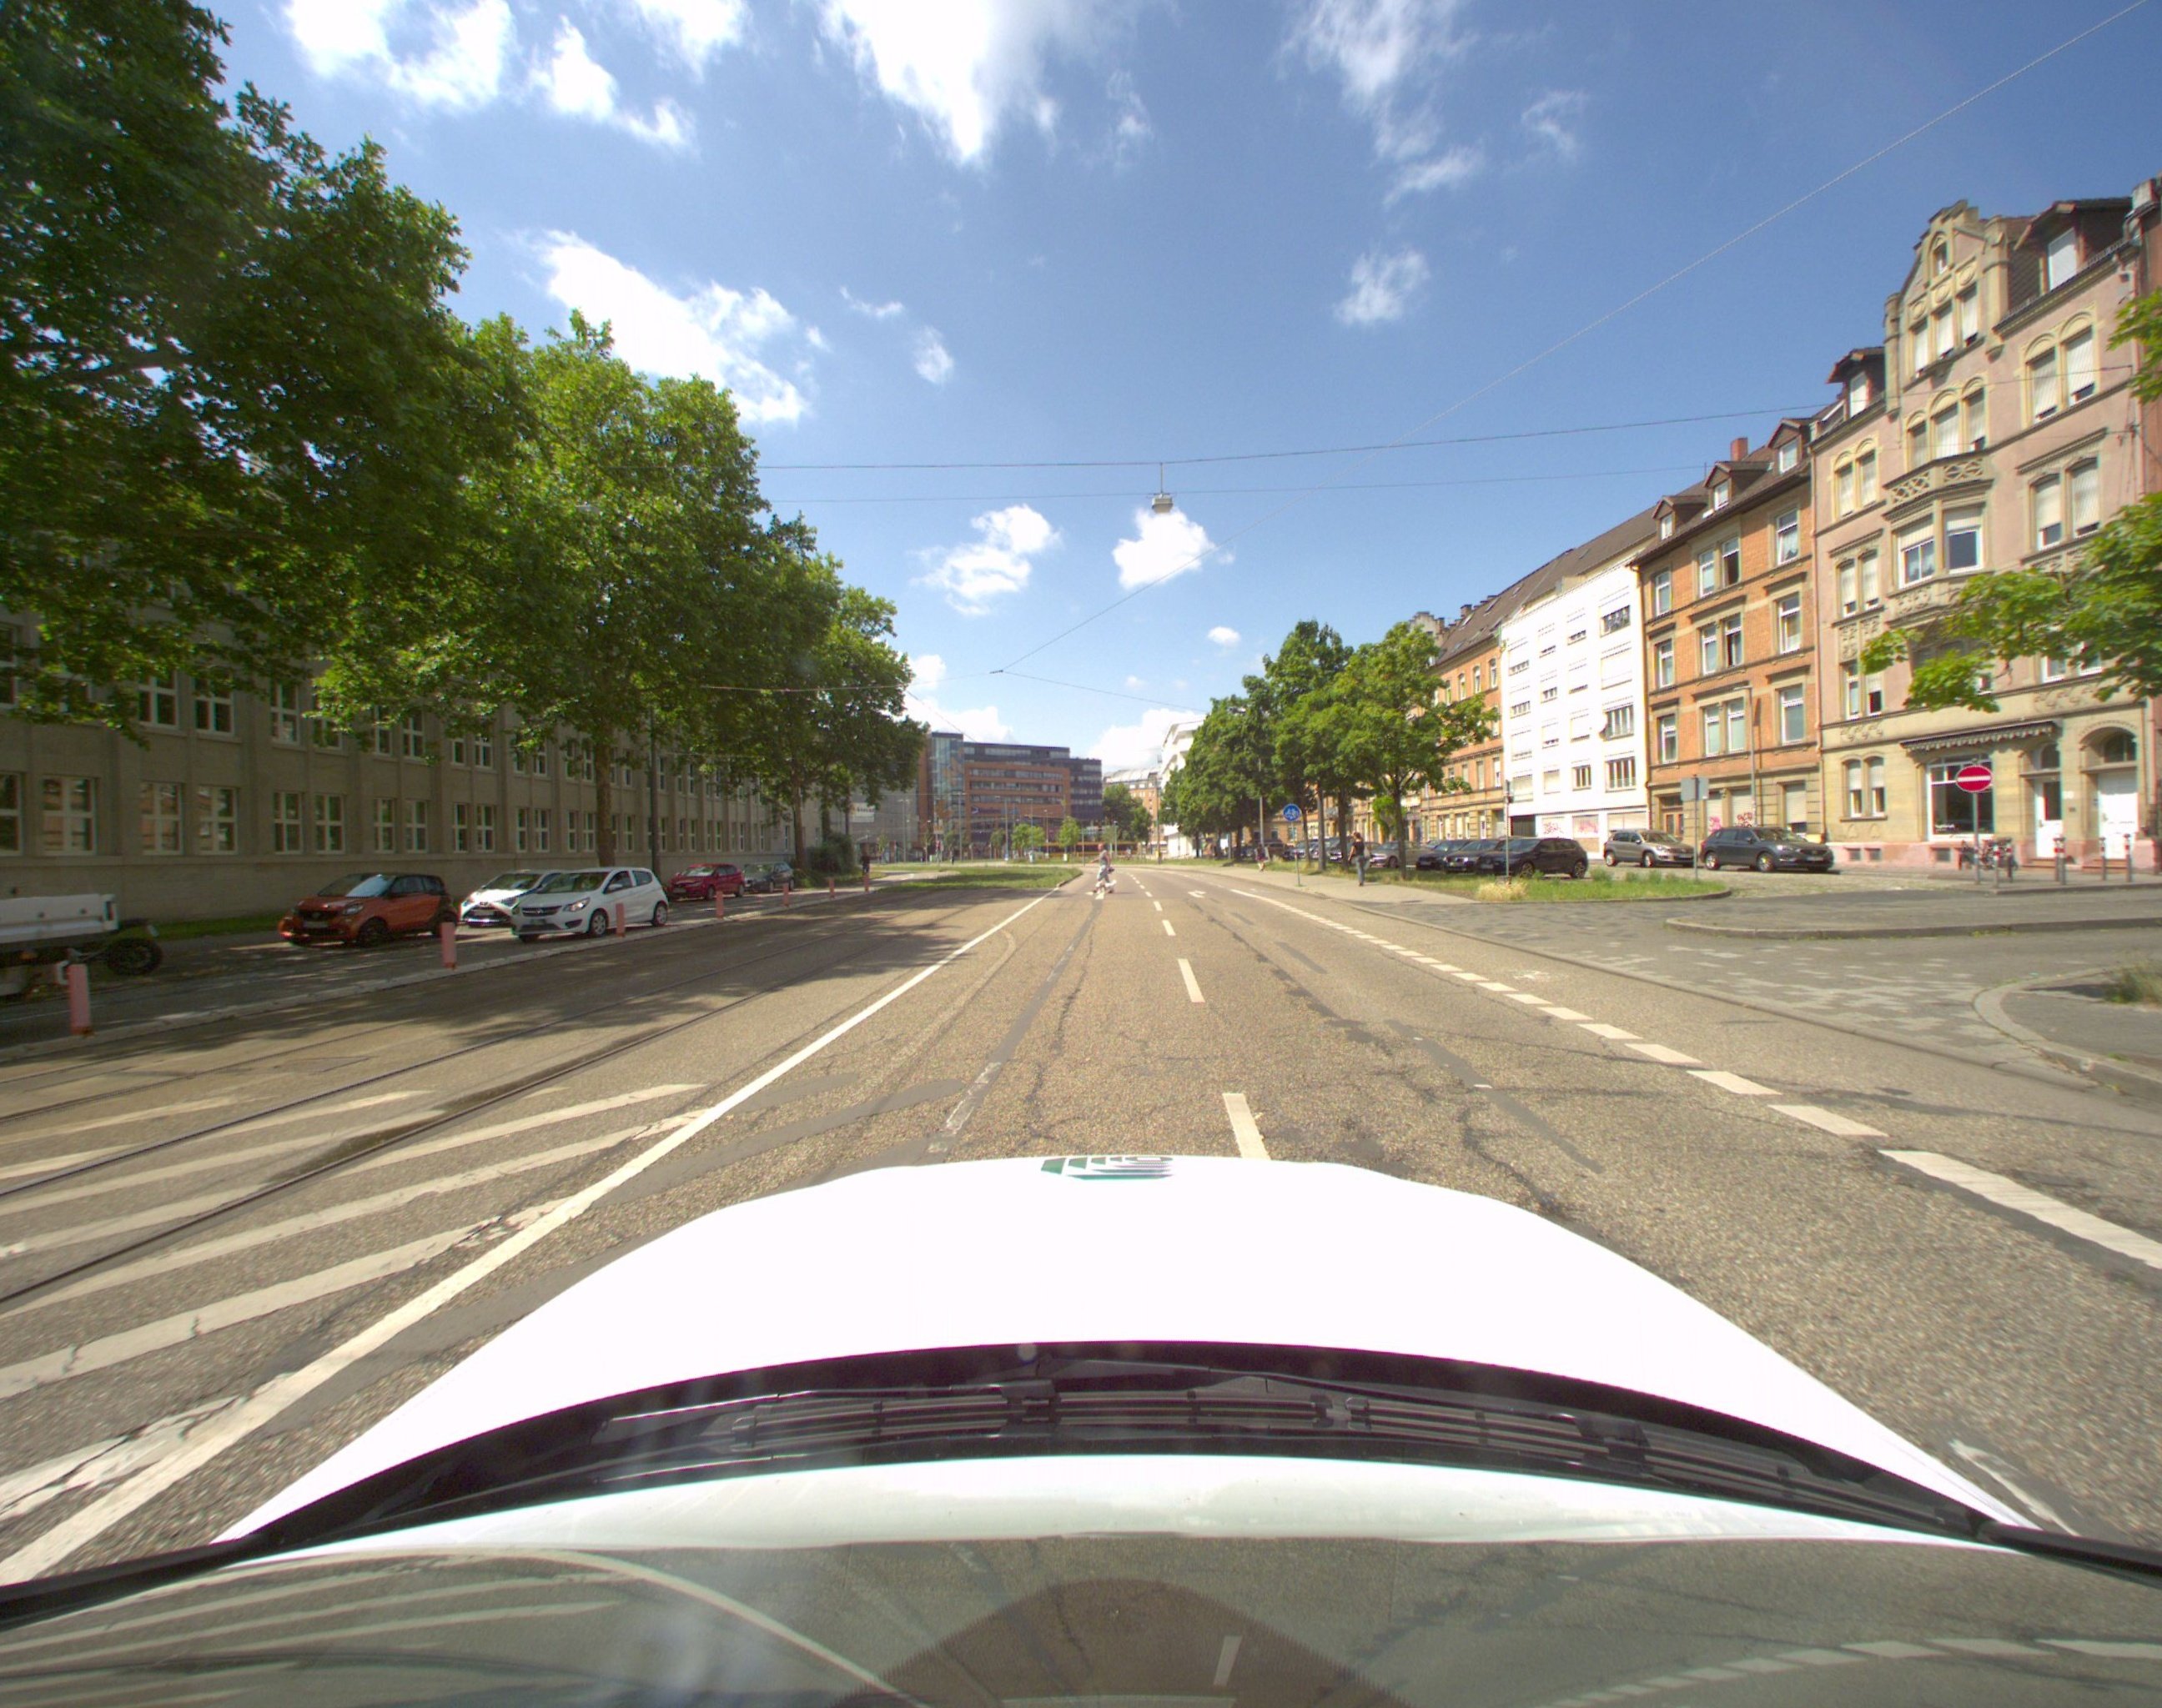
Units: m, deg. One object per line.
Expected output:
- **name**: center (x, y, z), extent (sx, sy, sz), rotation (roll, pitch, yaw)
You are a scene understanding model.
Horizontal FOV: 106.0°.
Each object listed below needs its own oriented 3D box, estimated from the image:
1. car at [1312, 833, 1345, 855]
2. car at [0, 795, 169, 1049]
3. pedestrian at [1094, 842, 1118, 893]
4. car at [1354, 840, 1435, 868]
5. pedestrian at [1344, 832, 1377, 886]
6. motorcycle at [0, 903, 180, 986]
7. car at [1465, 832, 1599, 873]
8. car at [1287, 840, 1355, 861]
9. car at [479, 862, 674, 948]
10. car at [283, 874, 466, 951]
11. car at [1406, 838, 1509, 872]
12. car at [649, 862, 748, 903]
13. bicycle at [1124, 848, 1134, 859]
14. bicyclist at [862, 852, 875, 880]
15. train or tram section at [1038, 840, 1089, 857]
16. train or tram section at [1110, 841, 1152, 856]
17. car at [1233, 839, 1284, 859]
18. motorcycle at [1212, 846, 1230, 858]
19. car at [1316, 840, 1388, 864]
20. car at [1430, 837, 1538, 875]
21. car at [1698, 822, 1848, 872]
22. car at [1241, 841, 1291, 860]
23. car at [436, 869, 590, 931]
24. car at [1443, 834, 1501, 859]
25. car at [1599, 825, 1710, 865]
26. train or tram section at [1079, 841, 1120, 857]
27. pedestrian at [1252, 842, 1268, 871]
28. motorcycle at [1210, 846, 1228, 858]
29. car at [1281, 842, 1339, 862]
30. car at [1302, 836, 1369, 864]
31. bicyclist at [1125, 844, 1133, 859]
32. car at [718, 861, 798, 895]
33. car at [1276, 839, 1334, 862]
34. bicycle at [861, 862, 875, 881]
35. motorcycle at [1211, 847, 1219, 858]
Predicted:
- **car**: center (25.692, -1.038, 84.719), extent (2.102, 2.178, 5.397), rotation (0, 0, 2)
- **car**: center (-11.323, 0.717, 5.482), extent (2.247, 2.374, 6.983), rotation (-4, 0, 1)
- **pedestrian**: center (0.869, 0.457, 27.839), extent (0.777, 1.704, 0.703), rotation (0, 0, 4)
- **car**: center (16.239, 0.001, 42.119), extent (4.286, 1.380, 1.833), rotation (0, 0, -34)
- **pedestrian**: center (9.108, 0.157, 26.562), extent (0.698, 1.704, 1.045), rotation (0, 0, 1)
- **motorcycle**: center (-15.908, 1.403, 12.890), extent (2.116, 1.175, 0.539), rotation (2, 2, -36)
- **car**: center (15.596, -0.061, 28.209), extent (4.001, 1.354, 1.948), rotation (0, 0, -21)
- **car**: center (16.591, -0.221, 56.198), extent (4.710, 1.380, 1.833), rotation (0, 0, -32)
- **car**: center (-10.817, 1.024, 17.827), extent (1.754, 1.480, 3.789), rotation (-4, 1, 1)
- **car**: center (-15.432, 1.219, 17.971), extent (1.482, 1.453, 2.883), rotation (0, 1, 0)
- **car**: center (16.114, 0.043, 34.866), extent (4.008, 1.380, 1.945), rotation (0, 0, -26)
- **car**: center (-15.161, 1.097, 32.562), extent (1.918, 1.420, 4.053), rotation (0, 1, 2)
- **bicycle**: center (6.115, -0.034, 102.989), extent (0.688, 1.242, 1.849), rotation (-4, 1, 21)
- **bicyclist**: center (-13.000, 0.732, 49.771), extent (0.763, 1.704, 0.779), rotation (0, 0, -15)
- **train or tram section**: center (-3.760, -1.170, 179.756), extent (3.185, 3.599, 13.584), rotation (-1, 0, 40)
- **train or tram section**: center (12.224, -1.289, 197.961), extent (3.026, 3.621, 12.714), rotation (-1, 0, 41)
- **car**: center (17.041, -0.458, 78.169), extent (4.642, 1.927, 1.899), rotation (0, 0, -29)
- **motorcycle**: center (14.717, -0.205, 85.669), extent (1.777, 1.167, 0.640), rotation (-1, 0, 0)
- **car**: center (16.147, -0.100, 48.407), extent (4.286, 1.380, 1.833), rotation (0, 0, -34)
- **car**: center (15.792, 0.064, 31.895), extent (4.013, 1.380, 1.942), rotation (0, 0, -31)
- **car**: center (24.412, -0.228, 28.977), extent (1.823, 1.615, 4.502), rotation (0, 0, 5)
- **car**: center (17.059, -0.330, 75.176), extent (4.181, 1.656, 1.901), rotation (0, 0, -25)
- **car**: center (-15.407, 1.188, 22.329), extent (1.741, 1.453, 3.491), rotation (0, 1, 0)
- **car**: center (24.725, -0.447, 51.689), extent (1.825, 1.492, 4.229), rotation (0, 0, 2)
- **car**: center (24.798, -0.375, 35.415), extent (1.825, 1.615, 4.498), rotation (0, 0, 2)
- **train or tram section**: center (4.384, -1.221, 189.051), extent (3.026, 3.603, 11.060), rotation (-1, 0, 42)
- **pedestrian**: center (10.028, 0.128, 45.695), extent (0.698, 1.592, 0.905), rotation (0, 0, 1)
- **motorcycle**: center (14.746, -0.212, 86.867), extent (1.777, 1.167, 0.640), rotation (-1, 0, 0)
- **car**: center (16.696, -0.130, 59.414), extent (4.101, 1.405, 1.833), rotation (0, 0, -33)
- **car**: center (16.389, -0.235, 52.412), extent (4.383, 1.741, 1.833), rotation (0, 0, -34)
- **bicyclist**: center (6.096, -0.352, 103.011), extent (0.688, 1.824, 0.961), rotation (-4, 1, 20)
- **car**: center (-14.804, 1.077, 37.618), extent (1.920, 1.369, 4.318), rotation (0, 1, 0)
- **car**: center (17.200, -0.269, 62.549), extent (4.161, 1.741, 1.835), rotation (0, 0, -29)
- **bicycle**: center (-12.986, 1.029, 49.694), extent (0.792, 1.110, 2.265), rotation (0, 0, -14)
- **motorcycle**: center (13.751, -0.174, 83.384), extent (0.633, 1.167, 1.914), rotation (-2, 0, 14)
